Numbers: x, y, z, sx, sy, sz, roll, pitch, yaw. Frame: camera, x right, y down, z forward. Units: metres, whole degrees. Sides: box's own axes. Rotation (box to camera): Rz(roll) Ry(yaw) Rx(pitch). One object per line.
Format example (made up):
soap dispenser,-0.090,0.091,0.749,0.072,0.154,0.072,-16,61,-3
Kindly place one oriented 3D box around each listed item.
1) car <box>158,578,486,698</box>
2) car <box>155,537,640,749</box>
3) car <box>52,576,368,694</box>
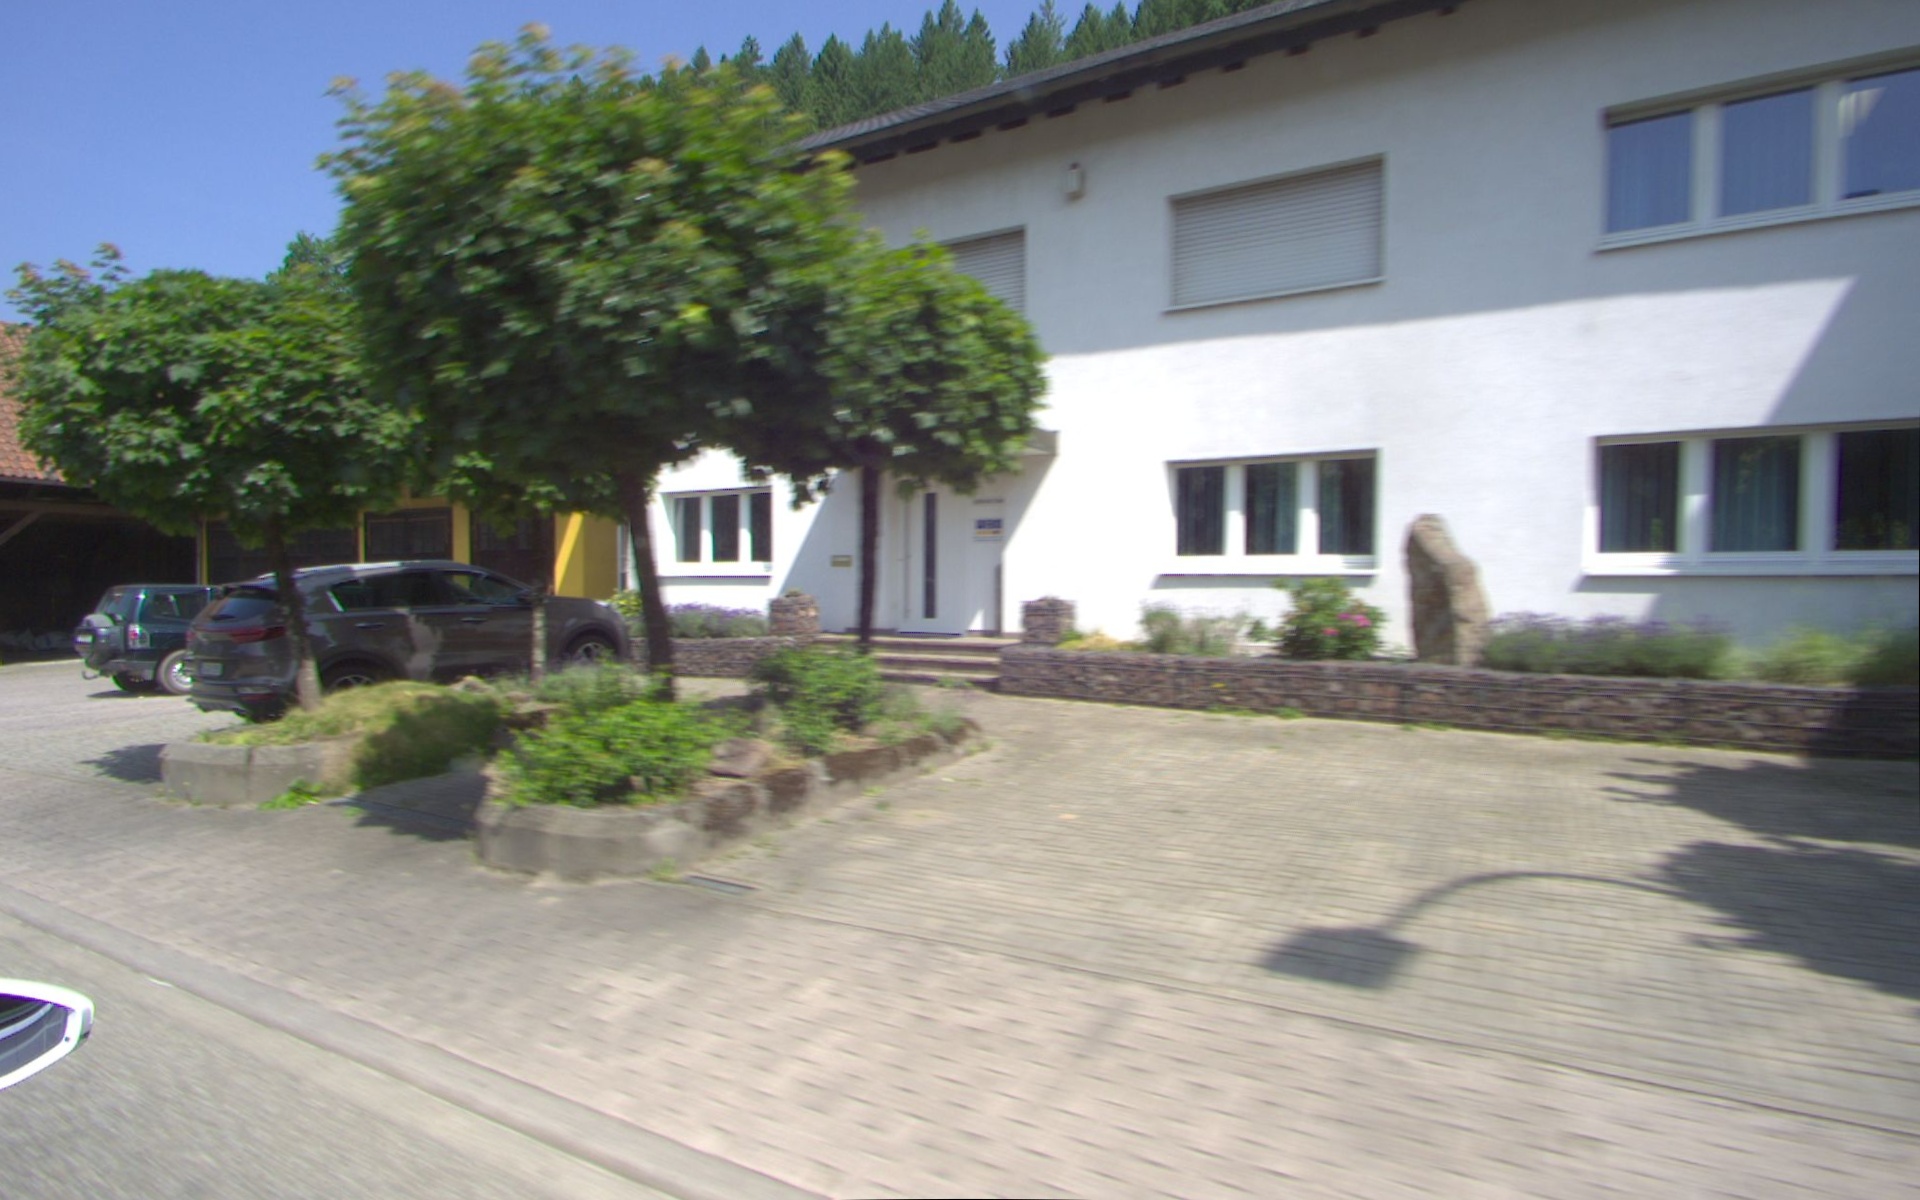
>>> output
car,-10.792,0.546,17.354,1.921,1.783,4.417,-1,1,25
car,-5.884,0.288,11.022,1.752,1.711,4.204,0,5,35
car,-13.364,0.527,18.142,1.924,1.857,4.122,-1,1,28
